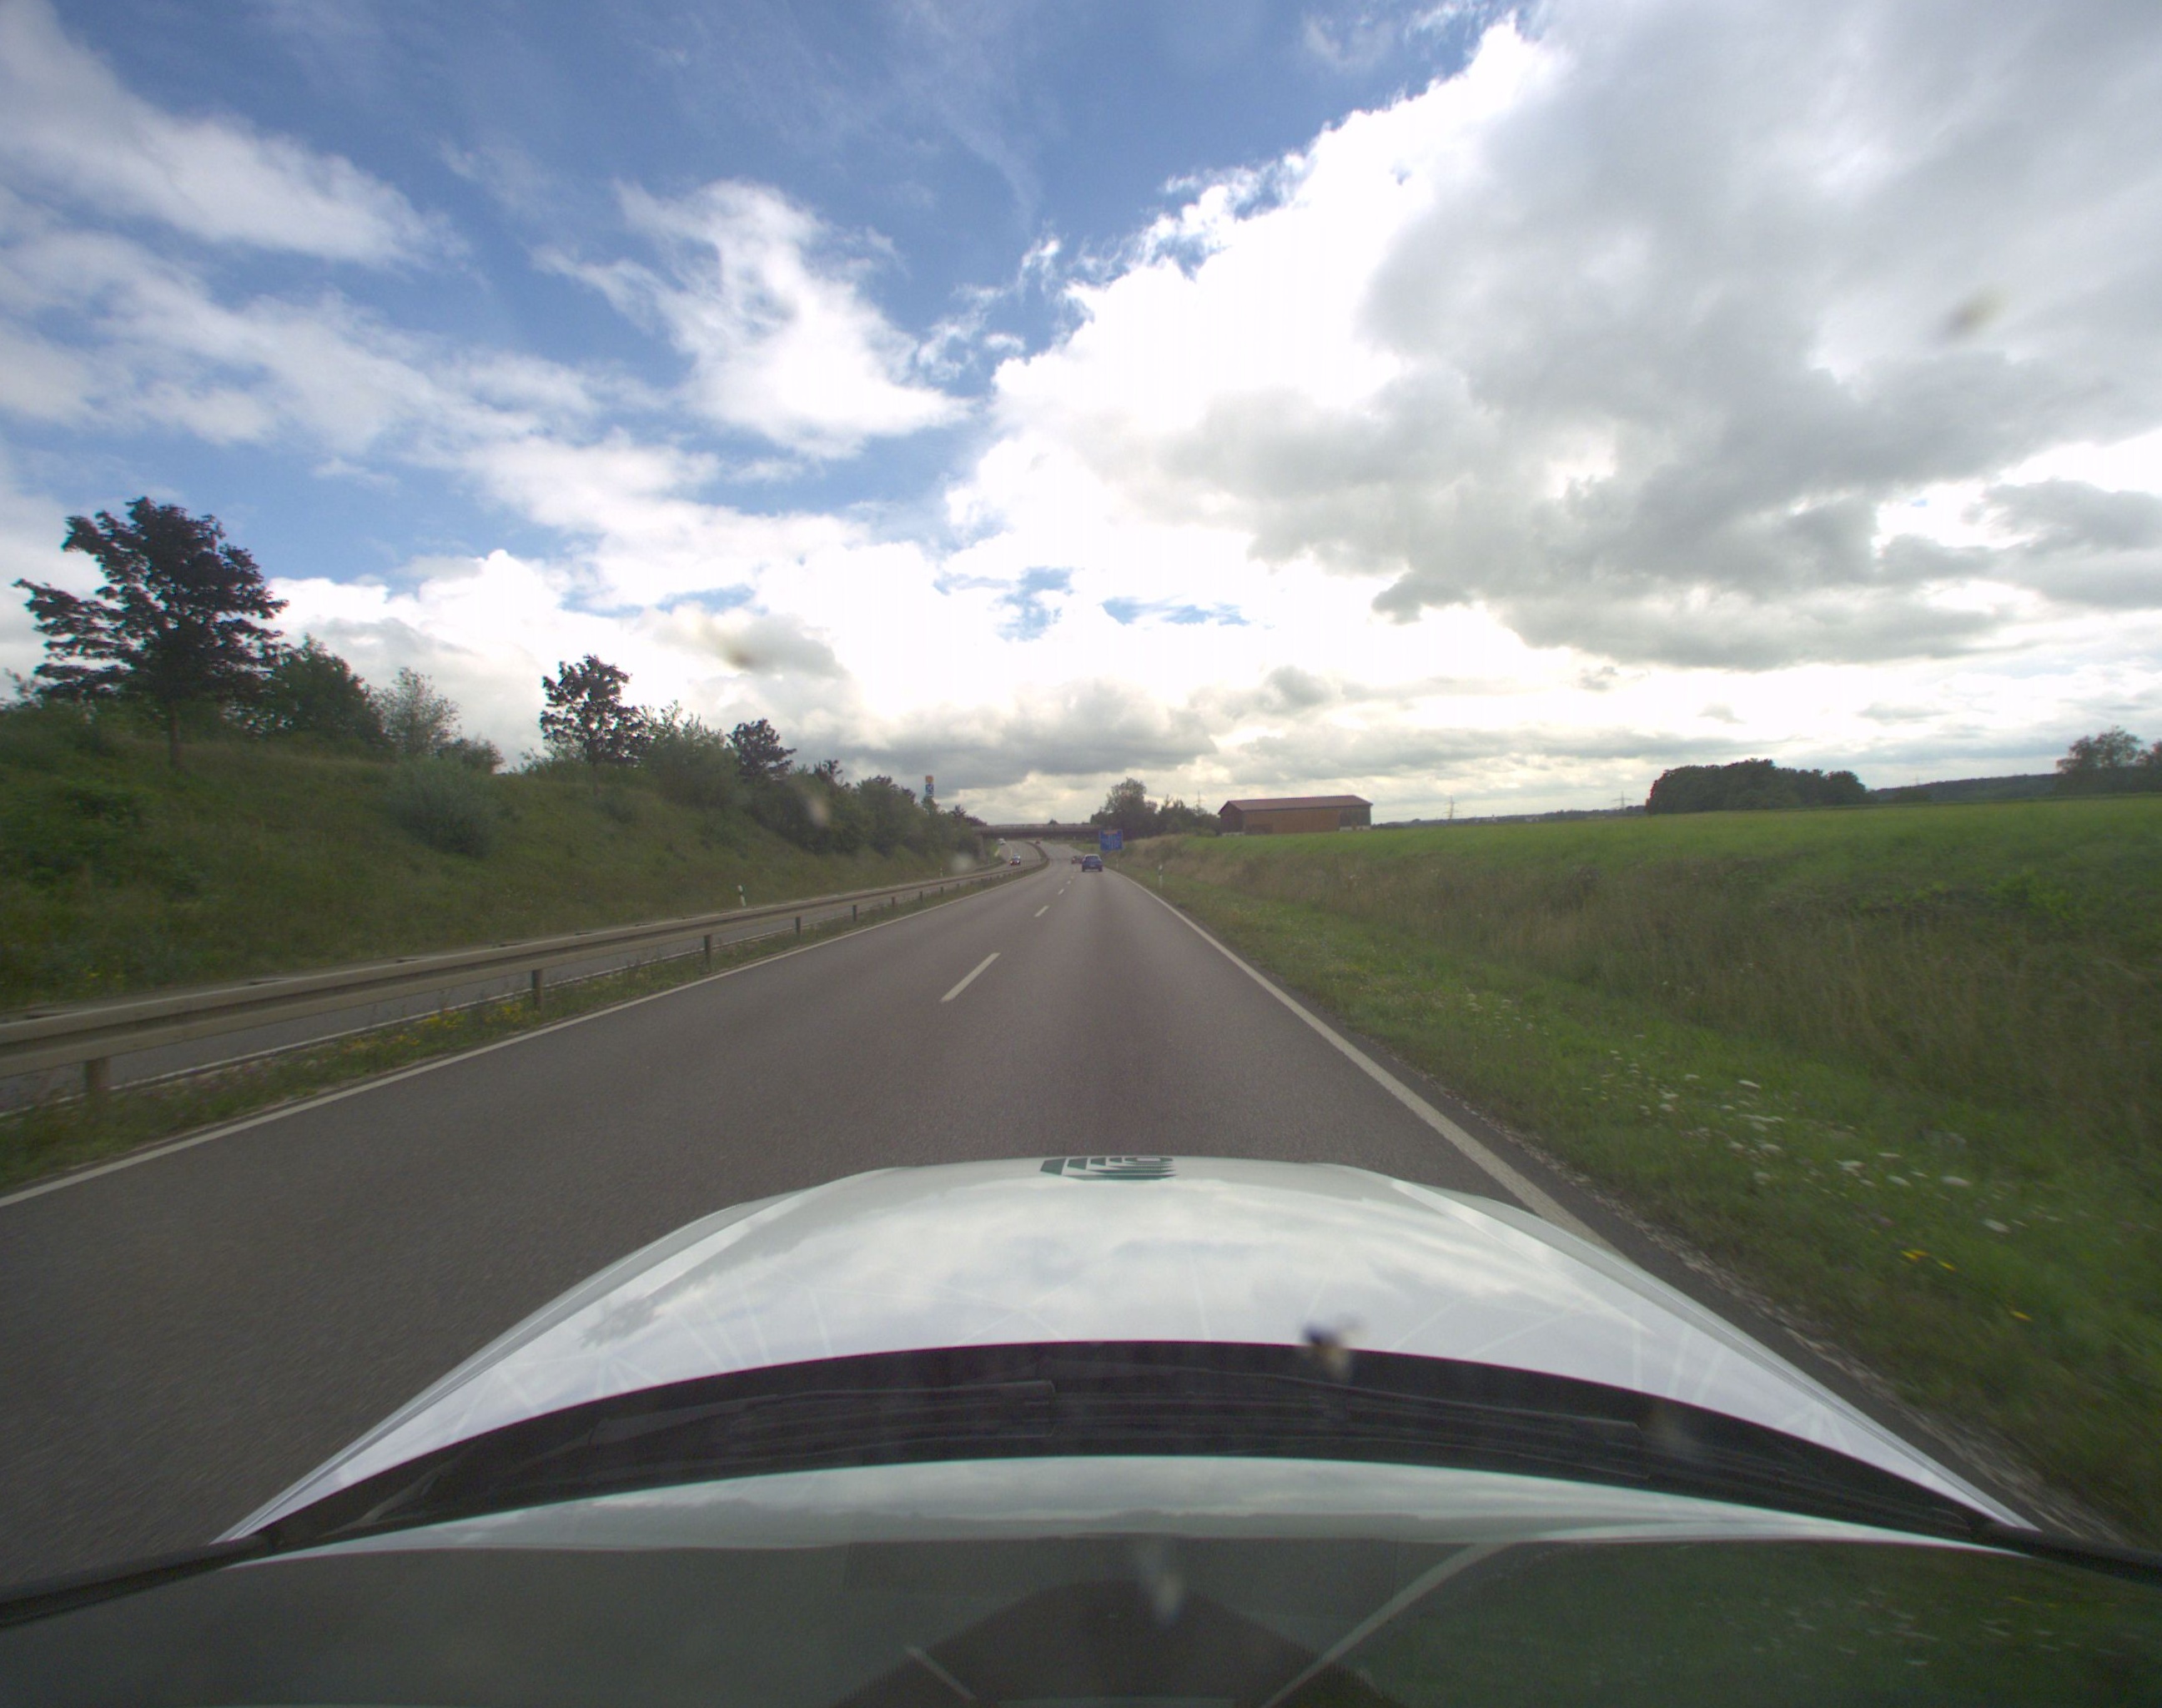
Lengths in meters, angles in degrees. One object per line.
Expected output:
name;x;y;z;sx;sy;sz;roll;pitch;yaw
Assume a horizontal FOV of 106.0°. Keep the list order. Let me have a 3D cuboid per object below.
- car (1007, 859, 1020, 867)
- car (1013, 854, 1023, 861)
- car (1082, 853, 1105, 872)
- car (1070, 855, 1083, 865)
car;-12.465;1.623;150.183;1.987;1.304;4.821;-3;0;0
car;-14.529;0.886;187.889;1.988;1.453;3.999;-3;1;-1
car;1.207;0.772;77.986;2.026;1.660;4.544;-1;1;1
car;-0.776;1.035;137.064;1.912;1.453;4.360;-3;1;-2
